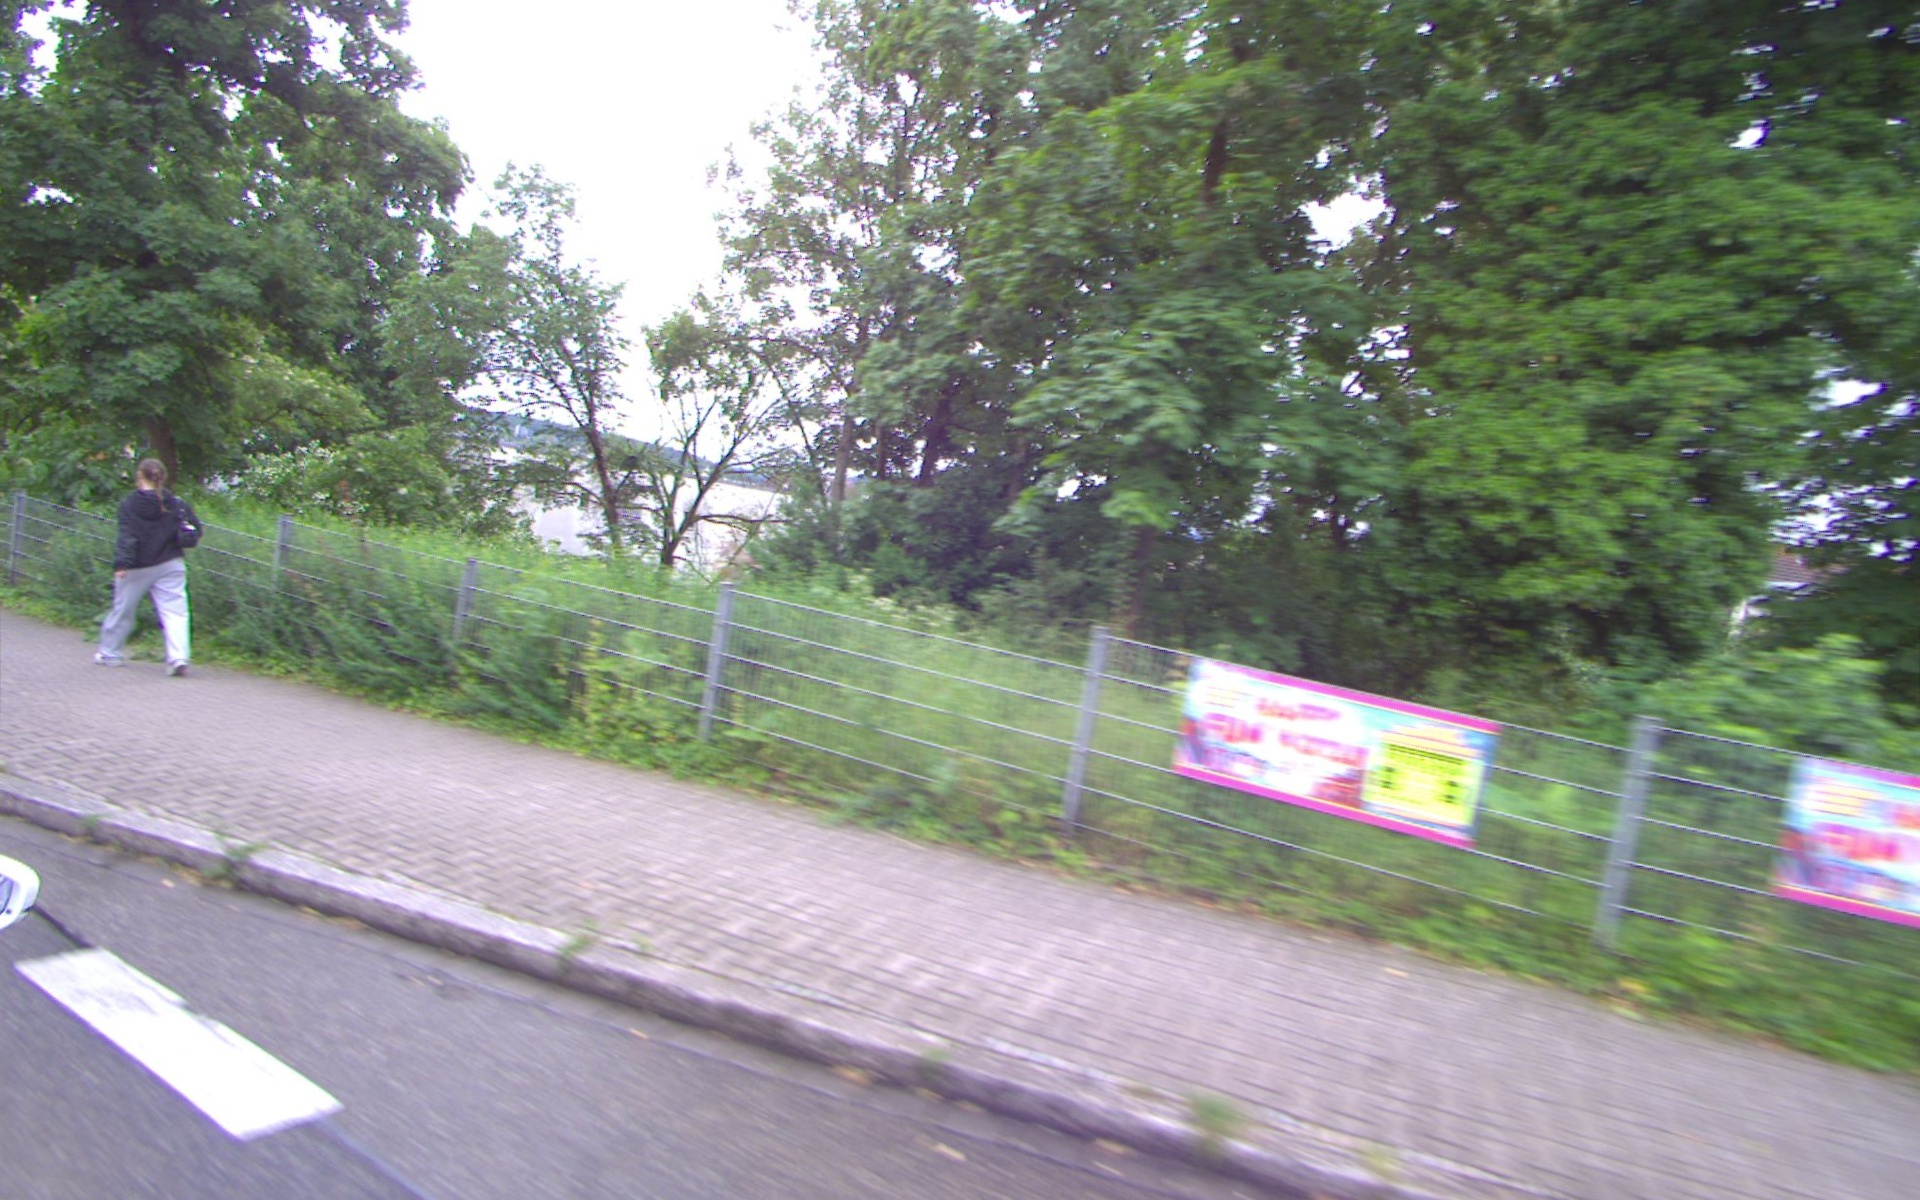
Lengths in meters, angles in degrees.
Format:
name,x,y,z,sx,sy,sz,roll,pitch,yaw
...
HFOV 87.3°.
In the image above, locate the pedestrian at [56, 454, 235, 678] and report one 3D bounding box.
name,x,y,z,sx,sy,sz,roll,pitch,yaw
pedestrian,-6.479,-0.278,8.009,0.949,1.628,0.766,7,5,27
